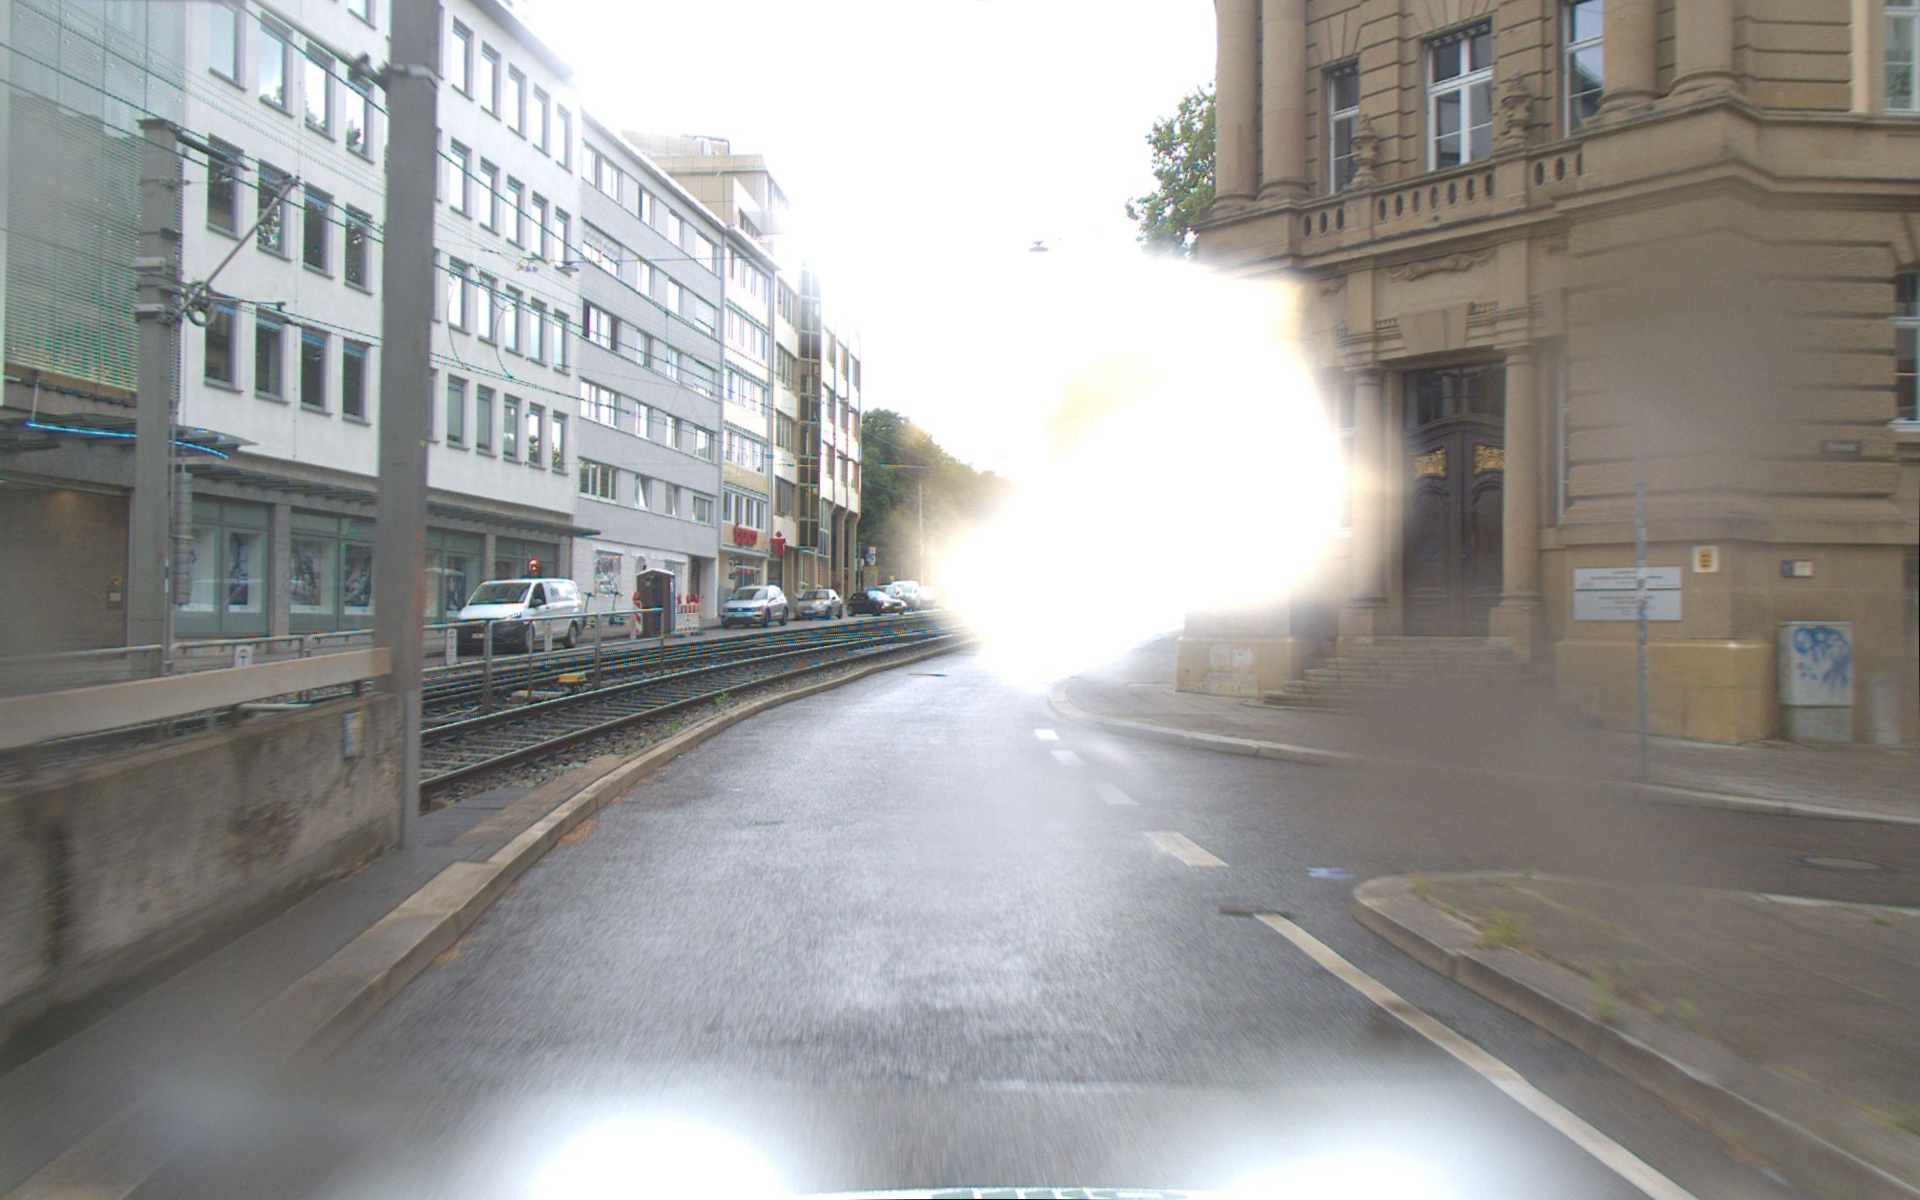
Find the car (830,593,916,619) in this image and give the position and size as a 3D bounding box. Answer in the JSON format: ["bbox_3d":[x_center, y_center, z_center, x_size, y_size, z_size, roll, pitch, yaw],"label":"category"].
[{"bbox_3d":[-4.476,0.299,84.865,4.233,1.183,1.989,2,0,41],"label":"car"}]

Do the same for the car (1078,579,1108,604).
[{"bbox_3d":[9.639,-0.618,119.781,1.951,1.691,4.003,1,0,7],"label":"car"}]

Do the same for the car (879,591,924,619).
[{"bbox_3d":[-3.328,0.280,95.156,1.951,1.482,4.314,1,0,7],"label":"car"}]

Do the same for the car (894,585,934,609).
[{"bbox_3d":[-2.936,-0.212,106.517,1.951,1.482,4.314,1,0,7],"label":"car"}]

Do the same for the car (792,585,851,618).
[{"bbox_3d":[-6.512,0.072,78.089,1.951,1.482,4.314,1,0,7],"label":"car"}]

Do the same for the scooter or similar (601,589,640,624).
[{"bbox_3d":[-12.422,0.220,60.572,0.748,1.241,2.067,1,0,6],"label":"scooter or similar"}]

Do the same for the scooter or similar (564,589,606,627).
[{"bbox_3d":[-12.795,0.271,56.473,0.748,1.241,2.067,1,0,6],"label":"scooter or similar"}]

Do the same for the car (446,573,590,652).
[{"bbox_3d":[-11.525,0.298,43.506,1.951,1.916,4.930,1,0,7],"label":"car"}]

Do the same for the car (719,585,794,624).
[{"bbox_3d":[-8.058,0.170,65.889,1.951,1.482,4.314,1,0,7],"label":"car"}]
